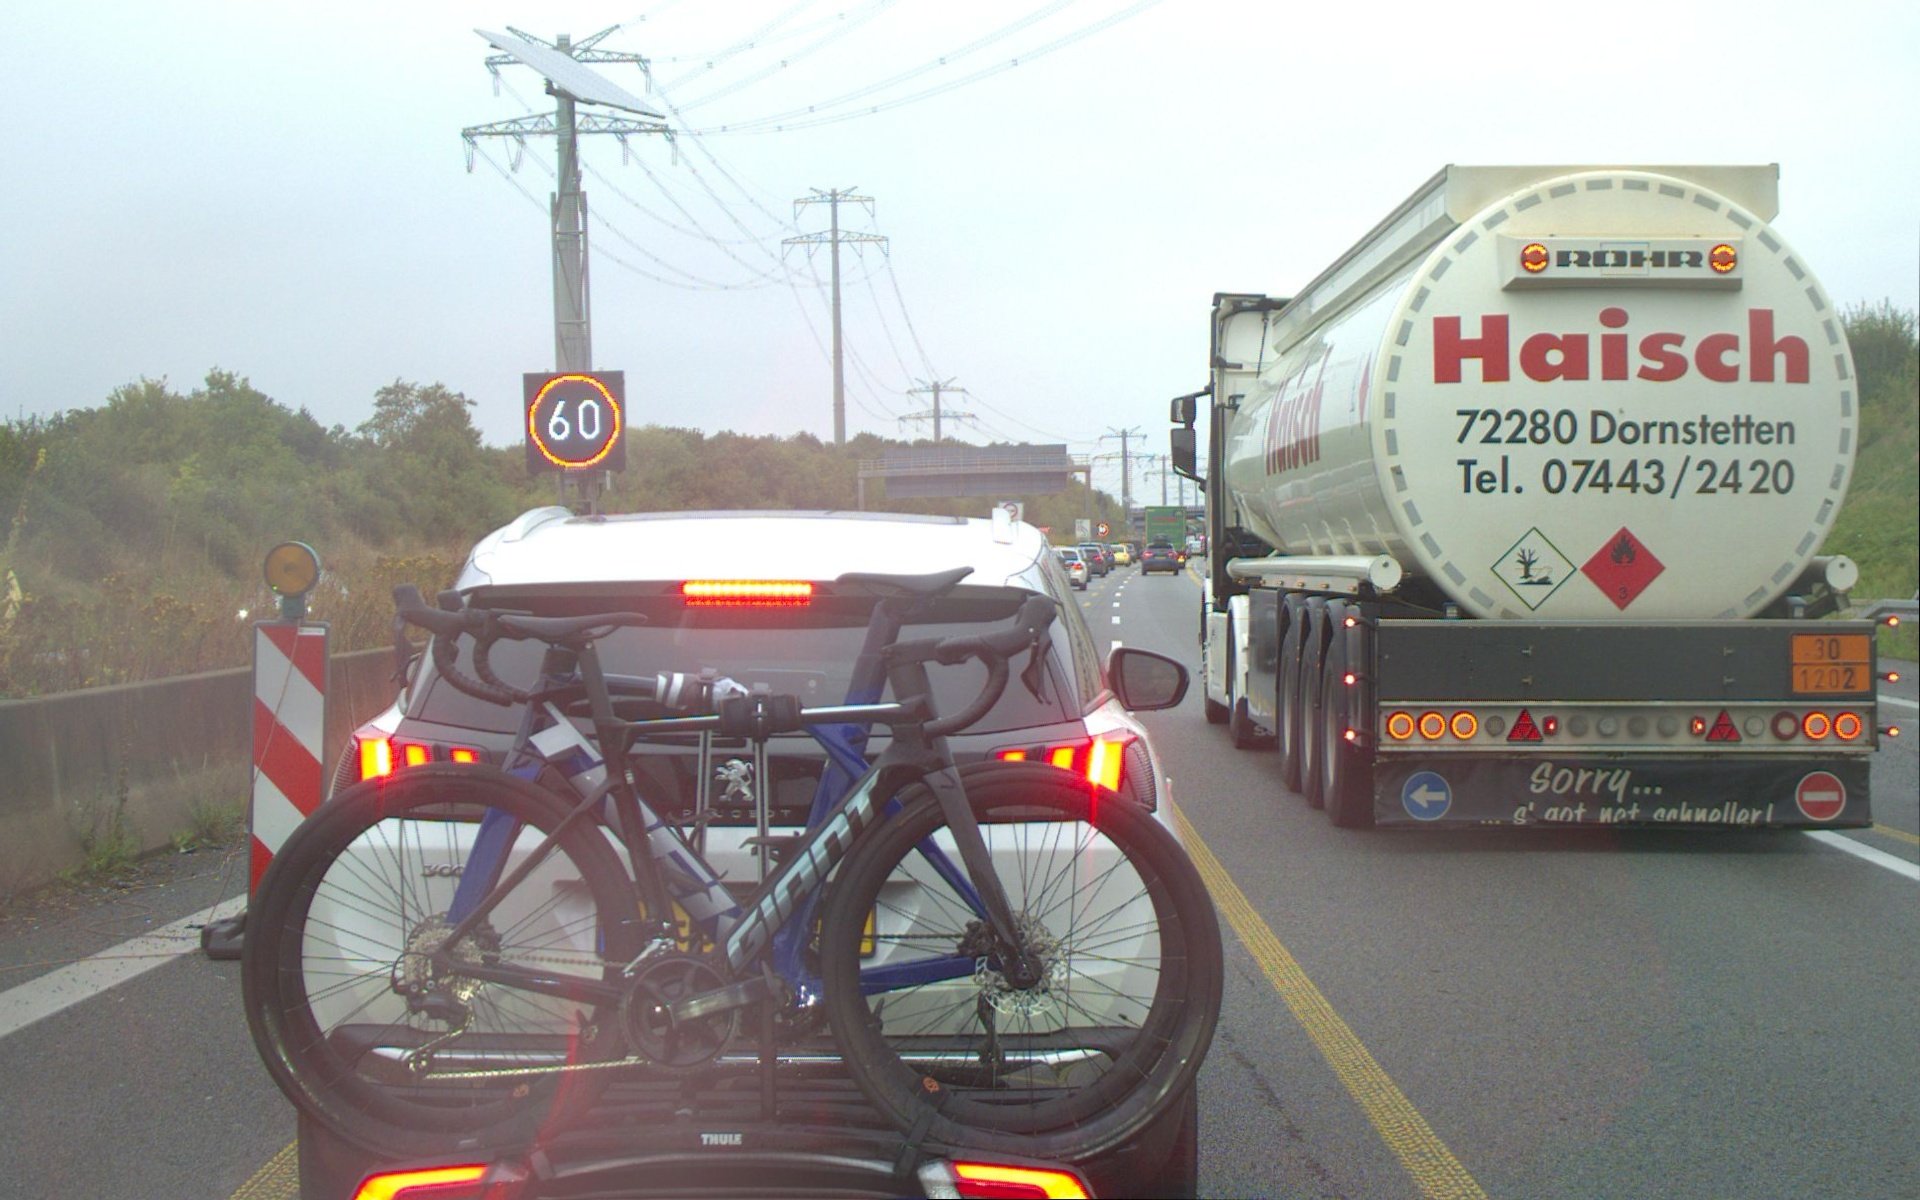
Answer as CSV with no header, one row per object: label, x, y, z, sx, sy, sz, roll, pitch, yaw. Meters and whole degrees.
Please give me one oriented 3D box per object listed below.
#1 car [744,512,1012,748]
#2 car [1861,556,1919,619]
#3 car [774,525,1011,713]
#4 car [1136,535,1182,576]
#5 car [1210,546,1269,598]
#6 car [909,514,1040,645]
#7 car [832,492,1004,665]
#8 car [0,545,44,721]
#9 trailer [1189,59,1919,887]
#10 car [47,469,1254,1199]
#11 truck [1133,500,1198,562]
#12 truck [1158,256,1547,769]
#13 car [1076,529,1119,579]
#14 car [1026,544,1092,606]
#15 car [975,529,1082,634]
car,-0.596,0.186,28.192,1.993,1.754,4.000,-1,1,1
car,19.089,-0.240,65.810,1.482,1.157,3.908,-2,1,-23
car,-0.594,0.119,30.949,1.993,1.578,4.000,0,1,-1
car,10.003,-2.247,172.986,1.993,2.007,4.000,1,0,-1
car,11.410,-1.159,140.541,1.993,2.007,4.000,-1,1,0
car,0.210,-0.367,55.825,1.993,2.007,4.000,-1,1,-1
car,-0.514,-0.296,42.795,1.993,2.007,4.000,-1,1,0
car,-12.213,0.427,39.568,1.993,2.040,4.778,-1,1,0
trailer,3.190,-0.632,21.537,2.637,3.880,10.544,1,0,-1
car,-0.432,0.559,7.784,1.928,1.605,4.595,0,1,2
truck,13.078,-4.387,219.928,3.732,3.809,11.868,-1,1,1
truck,3.114,-0.680,28.282,2.644,3.877,4.030,1,0,-1
car,5.674,-1.910,141.516,1.654,2.007,4.000,0,1,3
car,3.278,-0.838,114.301,1.993,2.007,4.000,1,0,-1
car,1.327,-0.370,68.295,1.993,2.007,4.000,1,0,-1
